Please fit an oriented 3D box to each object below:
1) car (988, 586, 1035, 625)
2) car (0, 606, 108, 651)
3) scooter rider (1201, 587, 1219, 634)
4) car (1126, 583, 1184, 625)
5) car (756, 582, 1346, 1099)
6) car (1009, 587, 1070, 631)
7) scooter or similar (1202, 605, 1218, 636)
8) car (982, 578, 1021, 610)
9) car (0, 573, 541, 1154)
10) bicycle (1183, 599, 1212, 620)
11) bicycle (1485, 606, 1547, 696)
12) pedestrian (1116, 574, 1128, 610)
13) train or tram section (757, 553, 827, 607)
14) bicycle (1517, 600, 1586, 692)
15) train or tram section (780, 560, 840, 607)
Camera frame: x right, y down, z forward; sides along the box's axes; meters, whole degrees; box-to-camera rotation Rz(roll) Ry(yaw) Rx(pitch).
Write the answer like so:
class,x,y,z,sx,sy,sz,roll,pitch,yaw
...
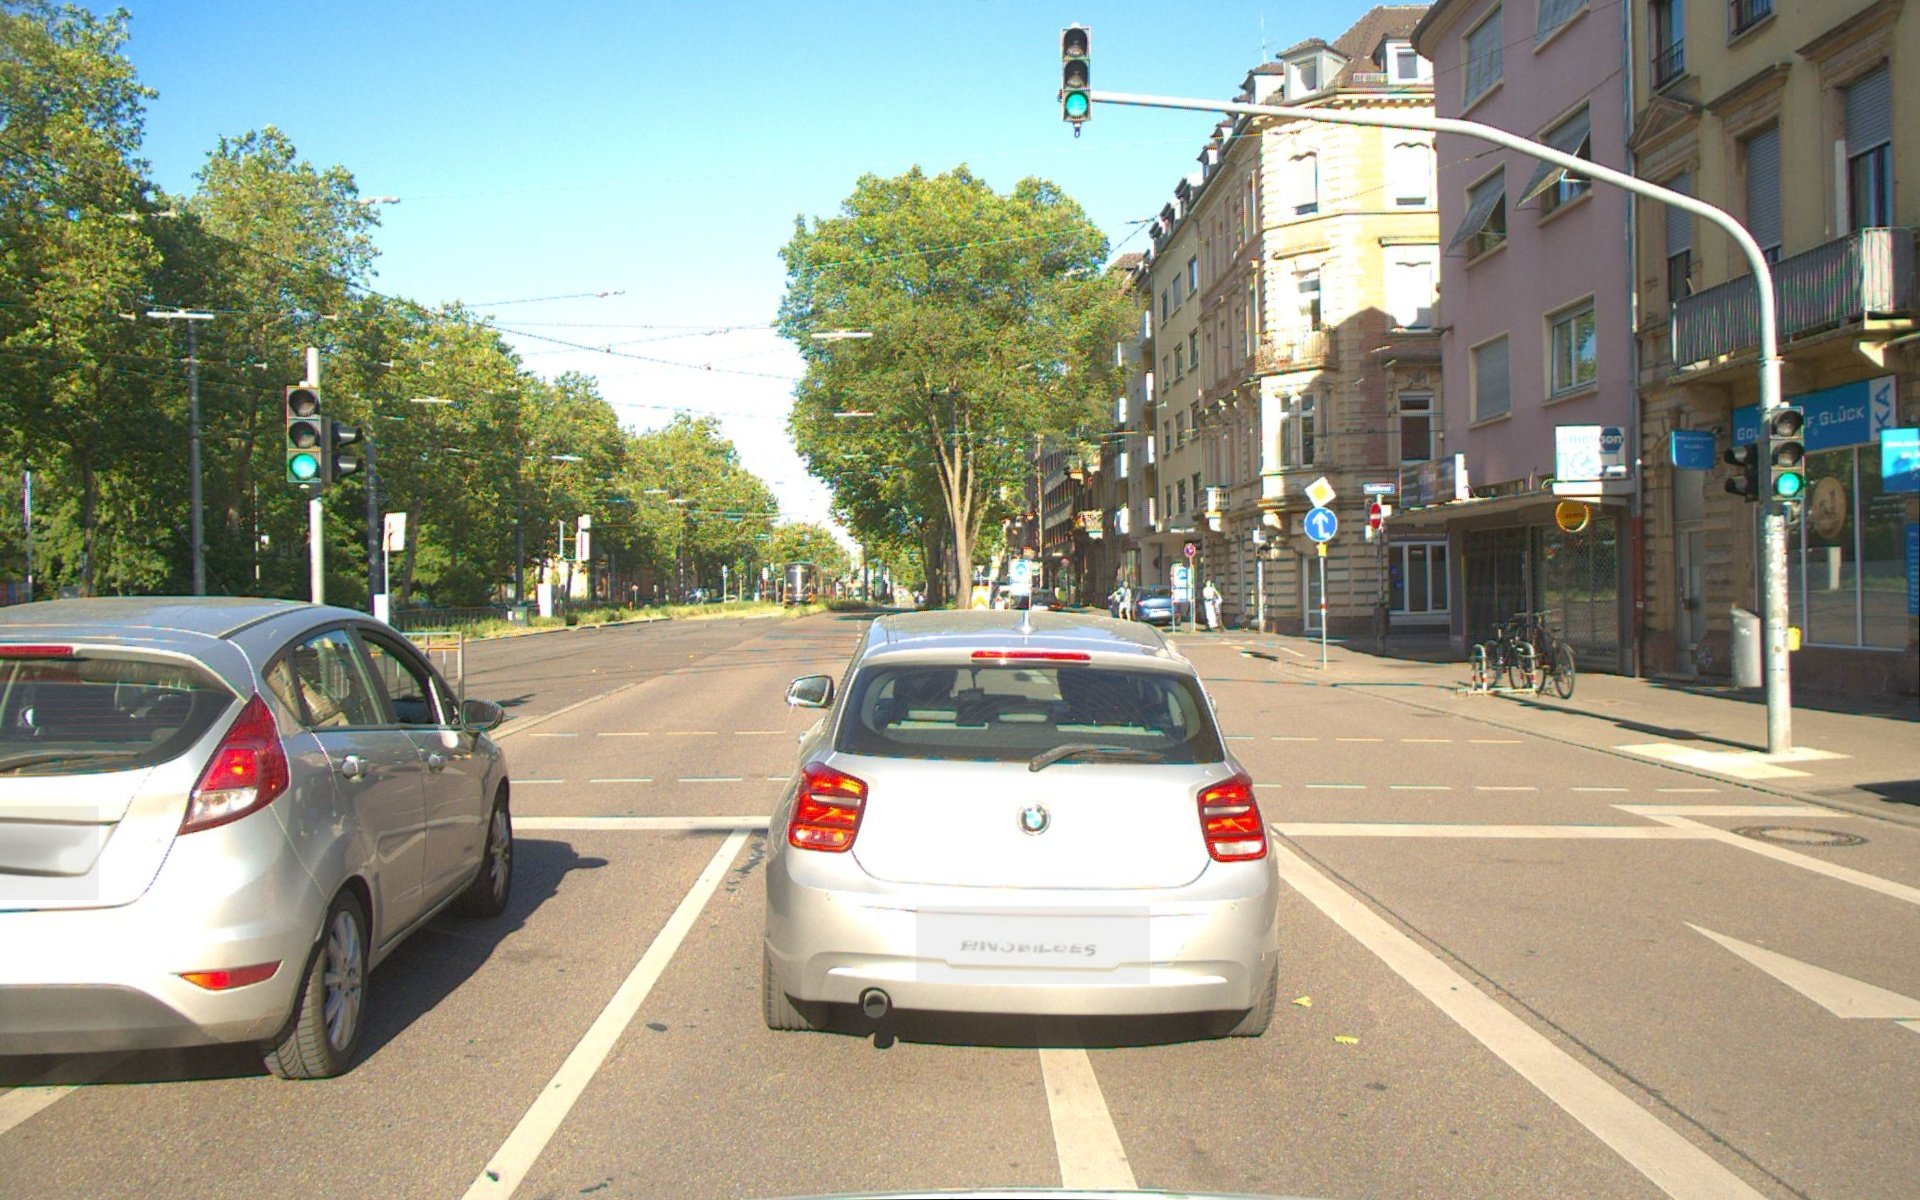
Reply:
class,x,y,z,sx,sy,sz,roll,pitch,yaw
car,2.113,0.203,68.638,1.690,1.533,3.553,0,0,-2
car,-29.416,0.892,52.980,1.897,1.372,4.847,-1,-1,-2
scooter rider,8.194,0.330,54.300,0.456,1.531,0.811,-1,0,1
car,7.448,0.136,63.370,1.700,1.546,3.635,0,0,-2
car,0.235,0.687,6.824,1.705,1.493,3.999,1,0,-1
car,2.718,0.275,57.147,1.701,1.458,3.675,0,0,-3
scooter or similar,8.212,0.668,54.298,0.330,1.005,1.284,-1,1,1
car,2.032,-0.286,81.280,1.690,1.533,3.553,0,0,-2
car,-2.704,0.667,6.202,1.578,1.493,3.886,-1,1,-5
bicycle,9.136,0.356,63.623,0.739,0.784,1.944,-1,0,-2
bicycle,7.602,0.674,22.659,0.405,1.160,1.810,0,1,5
pedestrian,8.315,-0.424,85.159,0.495,1.833,0.805,-1,0,-1
train or tram section,-12.955,-1.527,129.502,3.888,3.933,17.486,-1,1,-1
bicycle,8.091,0.606,22.663,0.439,1.179,1.759,-1,1,5
train or tram section,-13.167,-1.452,147.026,3.924,3.933,17.486,-1,1,-1
